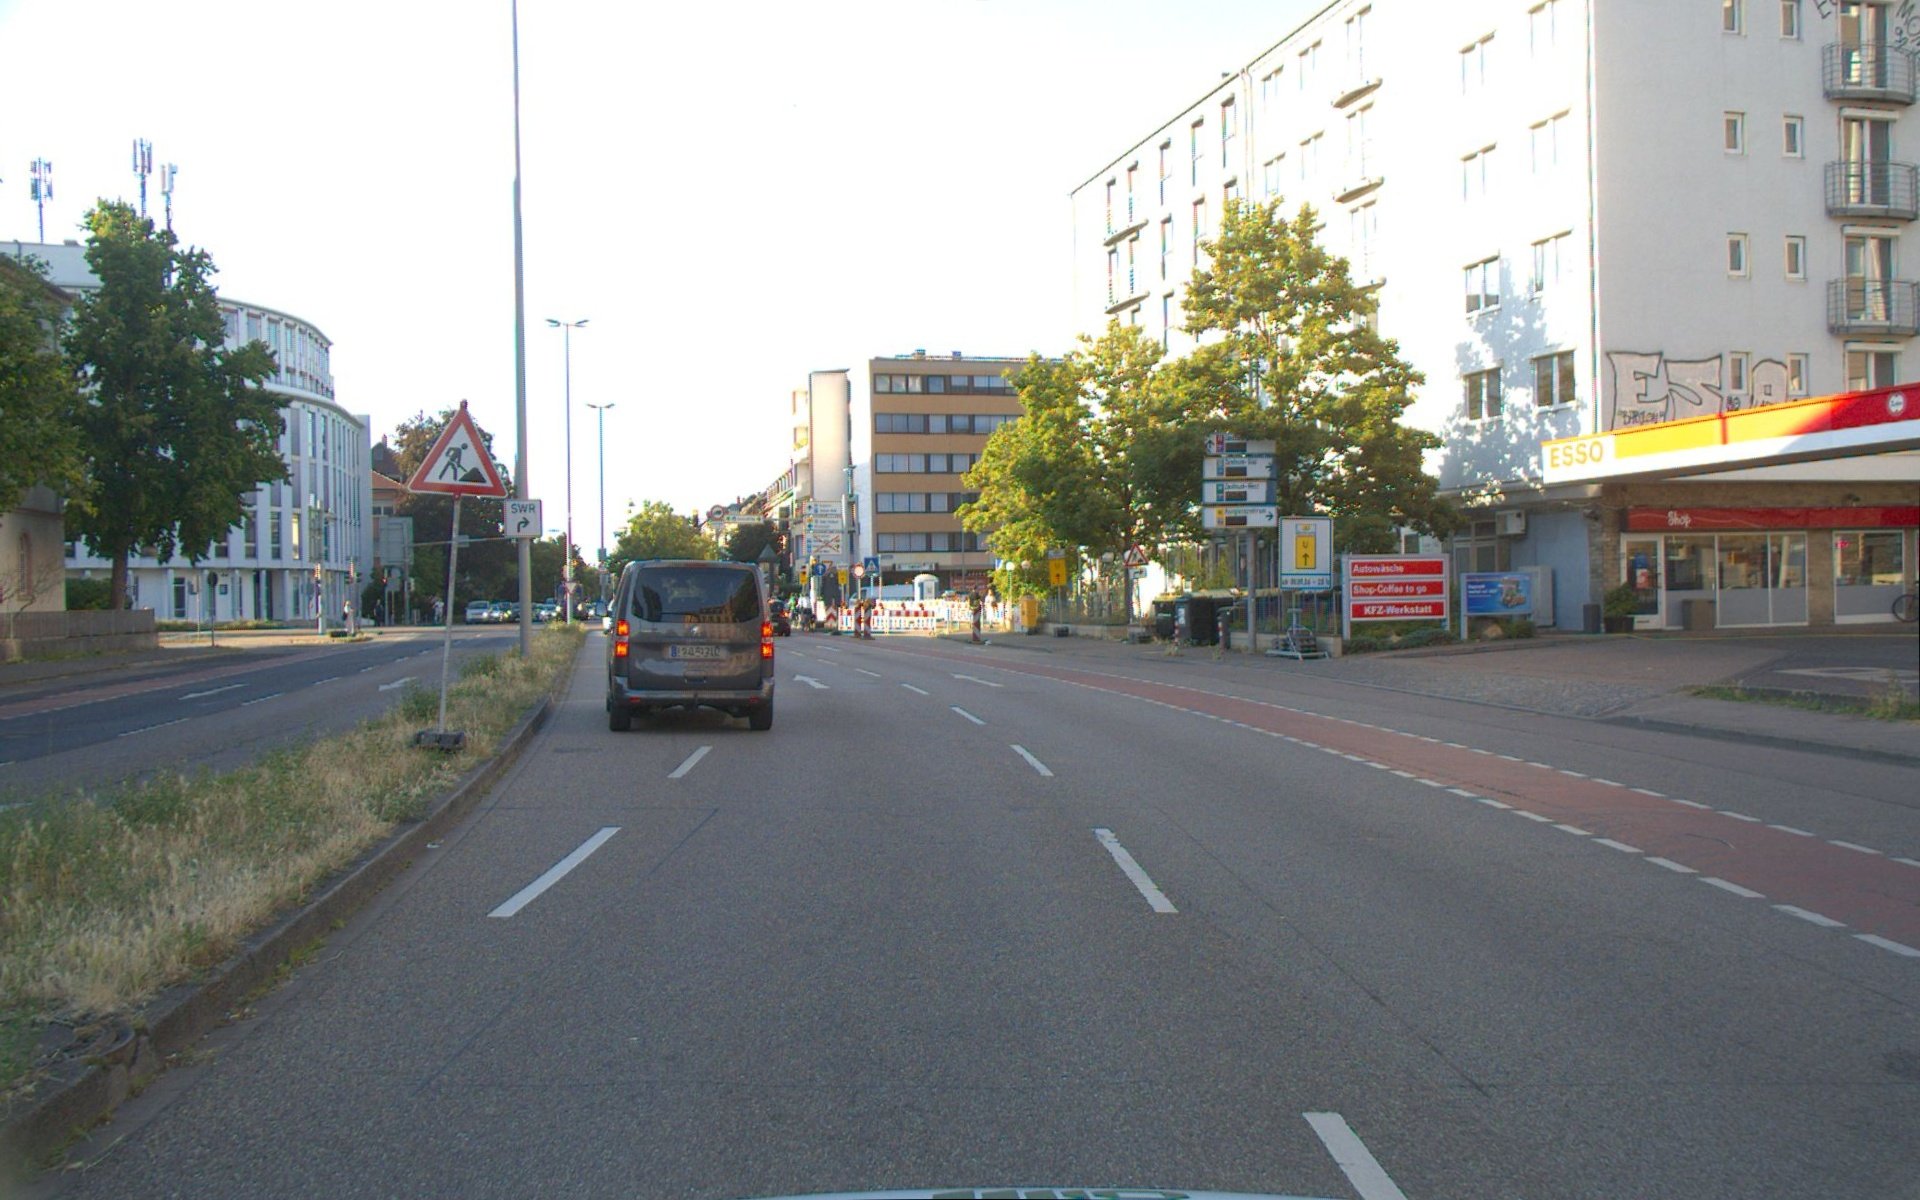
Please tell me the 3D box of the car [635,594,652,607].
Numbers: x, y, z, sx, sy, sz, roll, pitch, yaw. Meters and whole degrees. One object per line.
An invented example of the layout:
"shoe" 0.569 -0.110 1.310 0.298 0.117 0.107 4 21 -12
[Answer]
"car" -41.844 0.078 218.520 1.819 1.738 3.709 -1 0 -16

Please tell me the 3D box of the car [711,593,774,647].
"car" -6.664 0.589 50.941 1.810 1.571 3.626 -1 0 -7

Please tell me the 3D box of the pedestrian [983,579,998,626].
"pedestrian" 1.338 0.103 72.383 0.482 2.049 0.662 -1 0 -13

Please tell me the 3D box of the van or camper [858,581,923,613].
"van or camper" -4.919 -0.218 116.174 4.475 2.049 1.998 -2 0 -5

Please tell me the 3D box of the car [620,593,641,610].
"car" -34.588 0.164 173.464 1.819 1.738 3.709 -1 0 -16

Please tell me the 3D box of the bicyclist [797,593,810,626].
"bicyclist" -7.226 0.430 76.266 0.531 1.485 0.639 -1 0 -11

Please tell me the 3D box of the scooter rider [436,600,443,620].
"scooter rider" -35.235 0.678 111.930 0.348 1.397 0.336 -1 0 -11

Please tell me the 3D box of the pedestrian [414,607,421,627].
"pedestrian" -37.115 1.175 113.119 0.347 1.313 0.378 -1 0 -11

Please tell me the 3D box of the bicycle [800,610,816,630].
"bicycle" -6.808 0.900 74.097 0.523 0.862 1.679 -1 0 -11

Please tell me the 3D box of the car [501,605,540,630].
"car" -31.144 1.240 117.238 1.954 1.623 3.996 -1 0 -5

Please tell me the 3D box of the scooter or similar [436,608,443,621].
"scooter or similar" -35.229 0.974 111.929 0.351 0.911 0.902 -1 0 -11

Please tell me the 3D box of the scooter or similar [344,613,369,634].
"scooter or similar" -28.050 1.098 76.838 1.083 0.993 0.555 0 0 -22

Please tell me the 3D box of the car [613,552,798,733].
"car" -3.189 0.447 20.031 1.958 1.934 4.286 1 0 -12

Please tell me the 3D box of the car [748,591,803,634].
"car" -7.681 0.497 68.596 1.957 1.685 4.289 -1 0 -10

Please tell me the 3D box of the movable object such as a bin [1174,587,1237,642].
"movable object such as a bin" 6.815 0.397 46.015 1.433 1.479 1.546 -1 0 -3

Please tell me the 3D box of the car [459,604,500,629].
"car" -33.777 1.151 116.416 1.954 1.623 3.996 -1 0 -5

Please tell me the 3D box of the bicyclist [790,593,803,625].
"bicyclist" -7.792 0.437 78.641 0.531 1.485 0.639 -1 0 -11

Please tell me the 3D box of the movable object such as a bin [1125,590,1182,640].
"movable object such as a bin" 5.764 0.435 49.317 1.433 1.410 1.546 -1 0 -3

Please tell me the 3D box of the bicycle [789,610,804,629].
"bicycle" -7.781 0.906 78.668 0.523 0.862 1.679 -1 0 -11

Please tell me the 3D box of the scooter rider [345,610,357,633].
"scooter rider" -28.261 0.986 76.761 0.502 1.054 0.443 0 0 -22

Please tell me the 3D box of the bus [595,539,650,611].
"bus" -23.175 -1.613 113.156 3.235 4.698 9.961 0 0 -14

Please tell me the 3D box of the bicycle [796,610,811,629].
"bicycle" -7.218 0.901 76.273 0.523 0.862 1.679 -1 0 -11

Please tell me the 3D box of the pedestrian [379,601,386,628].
"pedestrian" -36.397 0.925 104.258 0.370 1.689 0.565 -1 0 -20

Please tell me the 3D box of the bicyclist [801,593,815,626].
"bicyclist" -6.827 0.425 74.111 0.531 1.485 0.639 -1 0 -11

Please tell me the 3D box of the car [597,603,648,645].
"car" -14.672 1.024 71.708 1.960 1.685 4.283 -1 0 -14
